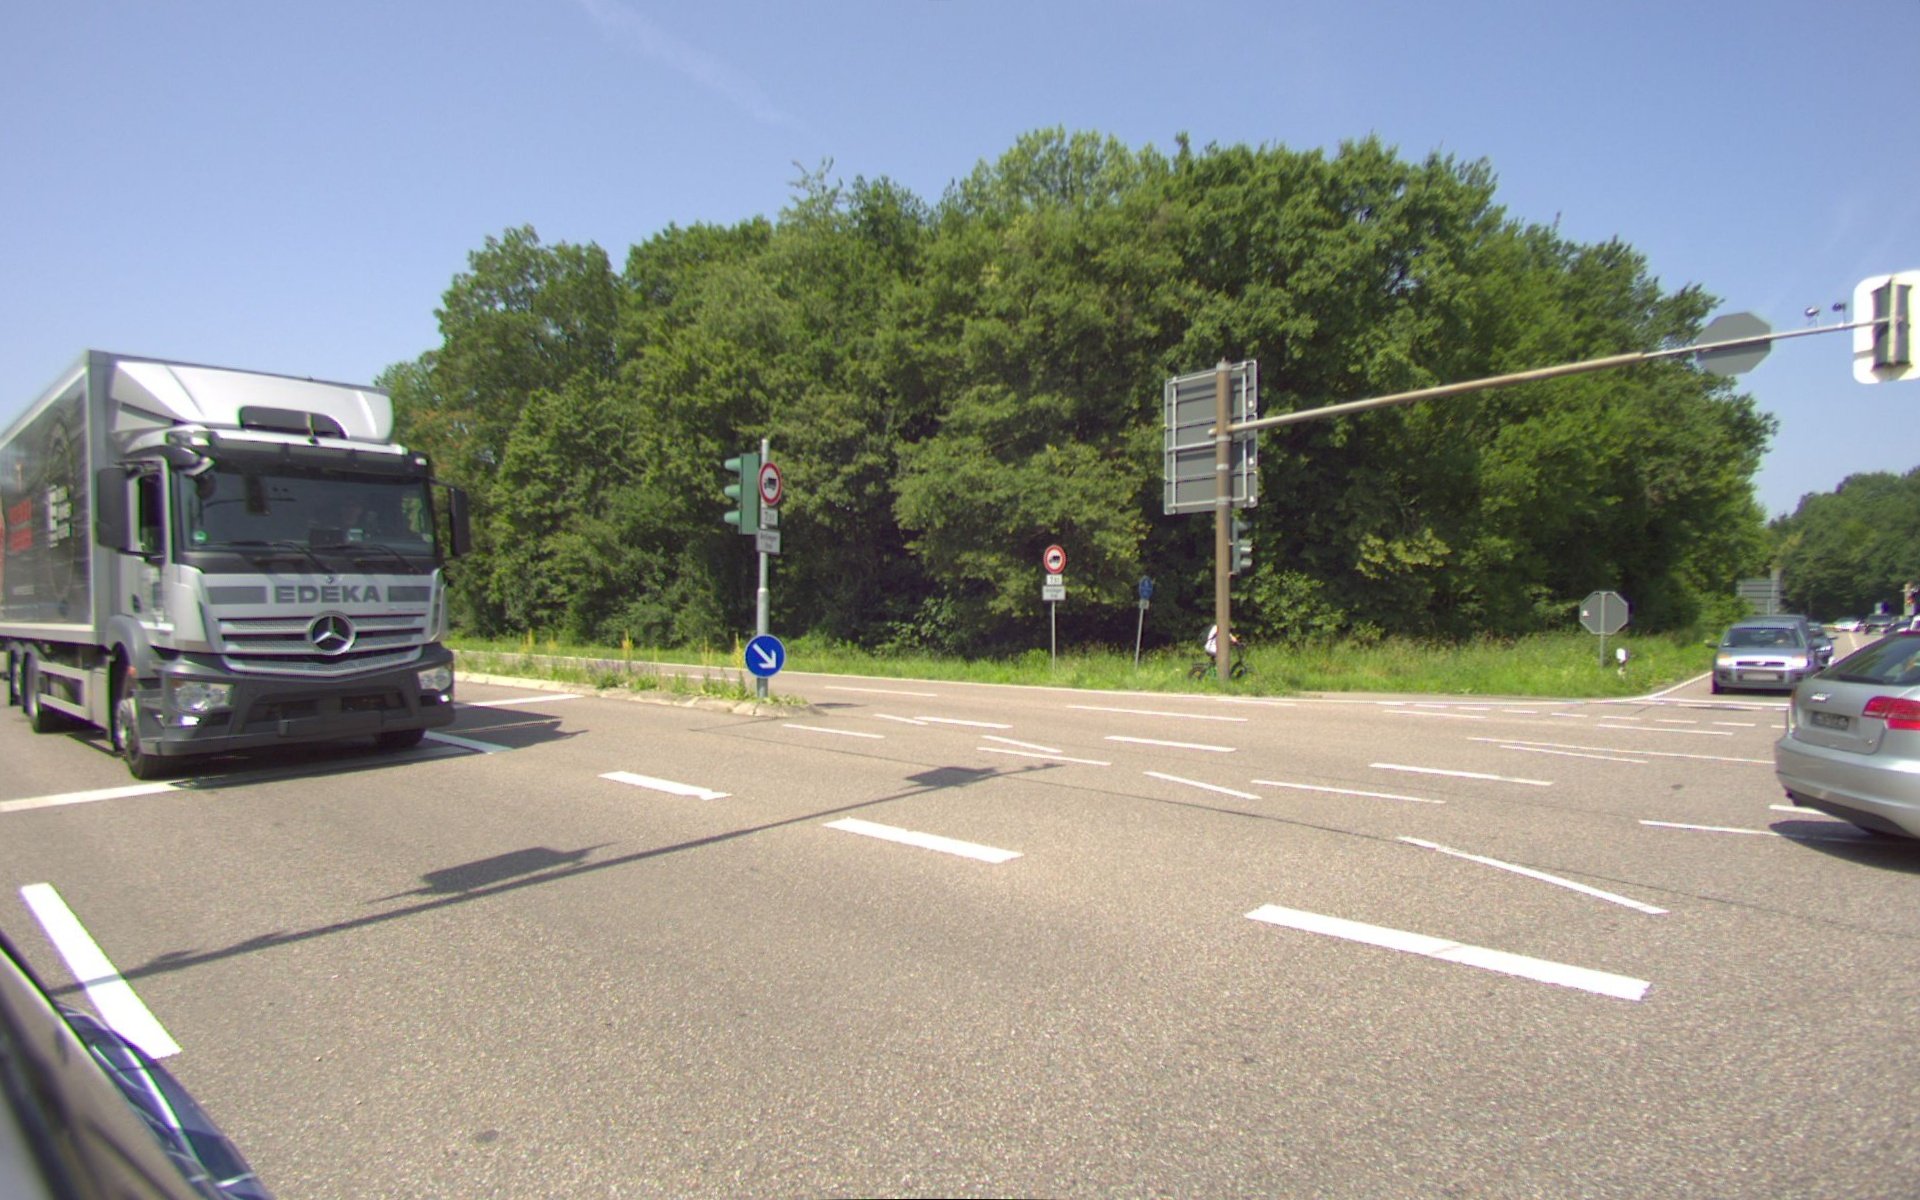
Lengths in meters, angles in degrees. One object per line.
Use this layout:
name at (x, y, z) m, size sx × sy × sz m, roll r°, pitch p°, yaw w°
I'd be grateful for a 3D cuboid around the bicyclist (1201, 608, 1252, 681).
bicyclist at (5.588, 0.922, 21.229) m, size 0.651 × 1.476 × 0.811 m, roll 1°, pitch -2°, yaw -39°

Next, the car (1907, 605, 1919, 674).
car at (28.814, 1.129, 29.168) m, size 2.066 × 1.910 × 4.753 m, roll -1°, pitch -2°, yaw 42°

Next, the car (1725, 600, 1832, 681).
car at (21.356, 1.004, 26.344) m, size 1.999 × 1.912 × 4.755 m, roll -1°, pitch -2°, yaw 41°

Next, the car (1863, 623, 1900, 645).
car at (72.710, 2.651, 79.829) m, size 2.001 × 1.648 × 4.750 m, roll -1°, pitch -2°, yaw 45°

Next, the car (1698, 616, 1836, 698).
car at (17.584, 1.154, 21.965) m, size 2.129 × 1.579 × 4.754 m, roll -1°, pitch -2°, yaw 41°

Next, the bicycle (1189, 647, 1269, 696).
bicycle at (5.614, 1.479, 21.178) m, size 0.558 × 0.930 × 1.608 m, roll 1°, pitch -2°, yaw -39°

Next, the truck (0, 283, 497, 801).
truck at (-9.659, -0.395, 12.366) m, size 11.312 × 3.914 × 2.718 m, roll -1°, pitch 0°, yaw 40°

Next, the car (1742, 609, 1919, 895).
car at (6.917, 0.746, 5.354) m, size 3.982 × 1.402 × 1.760 m, roll -1°, pitch 0°, yaw 19°
